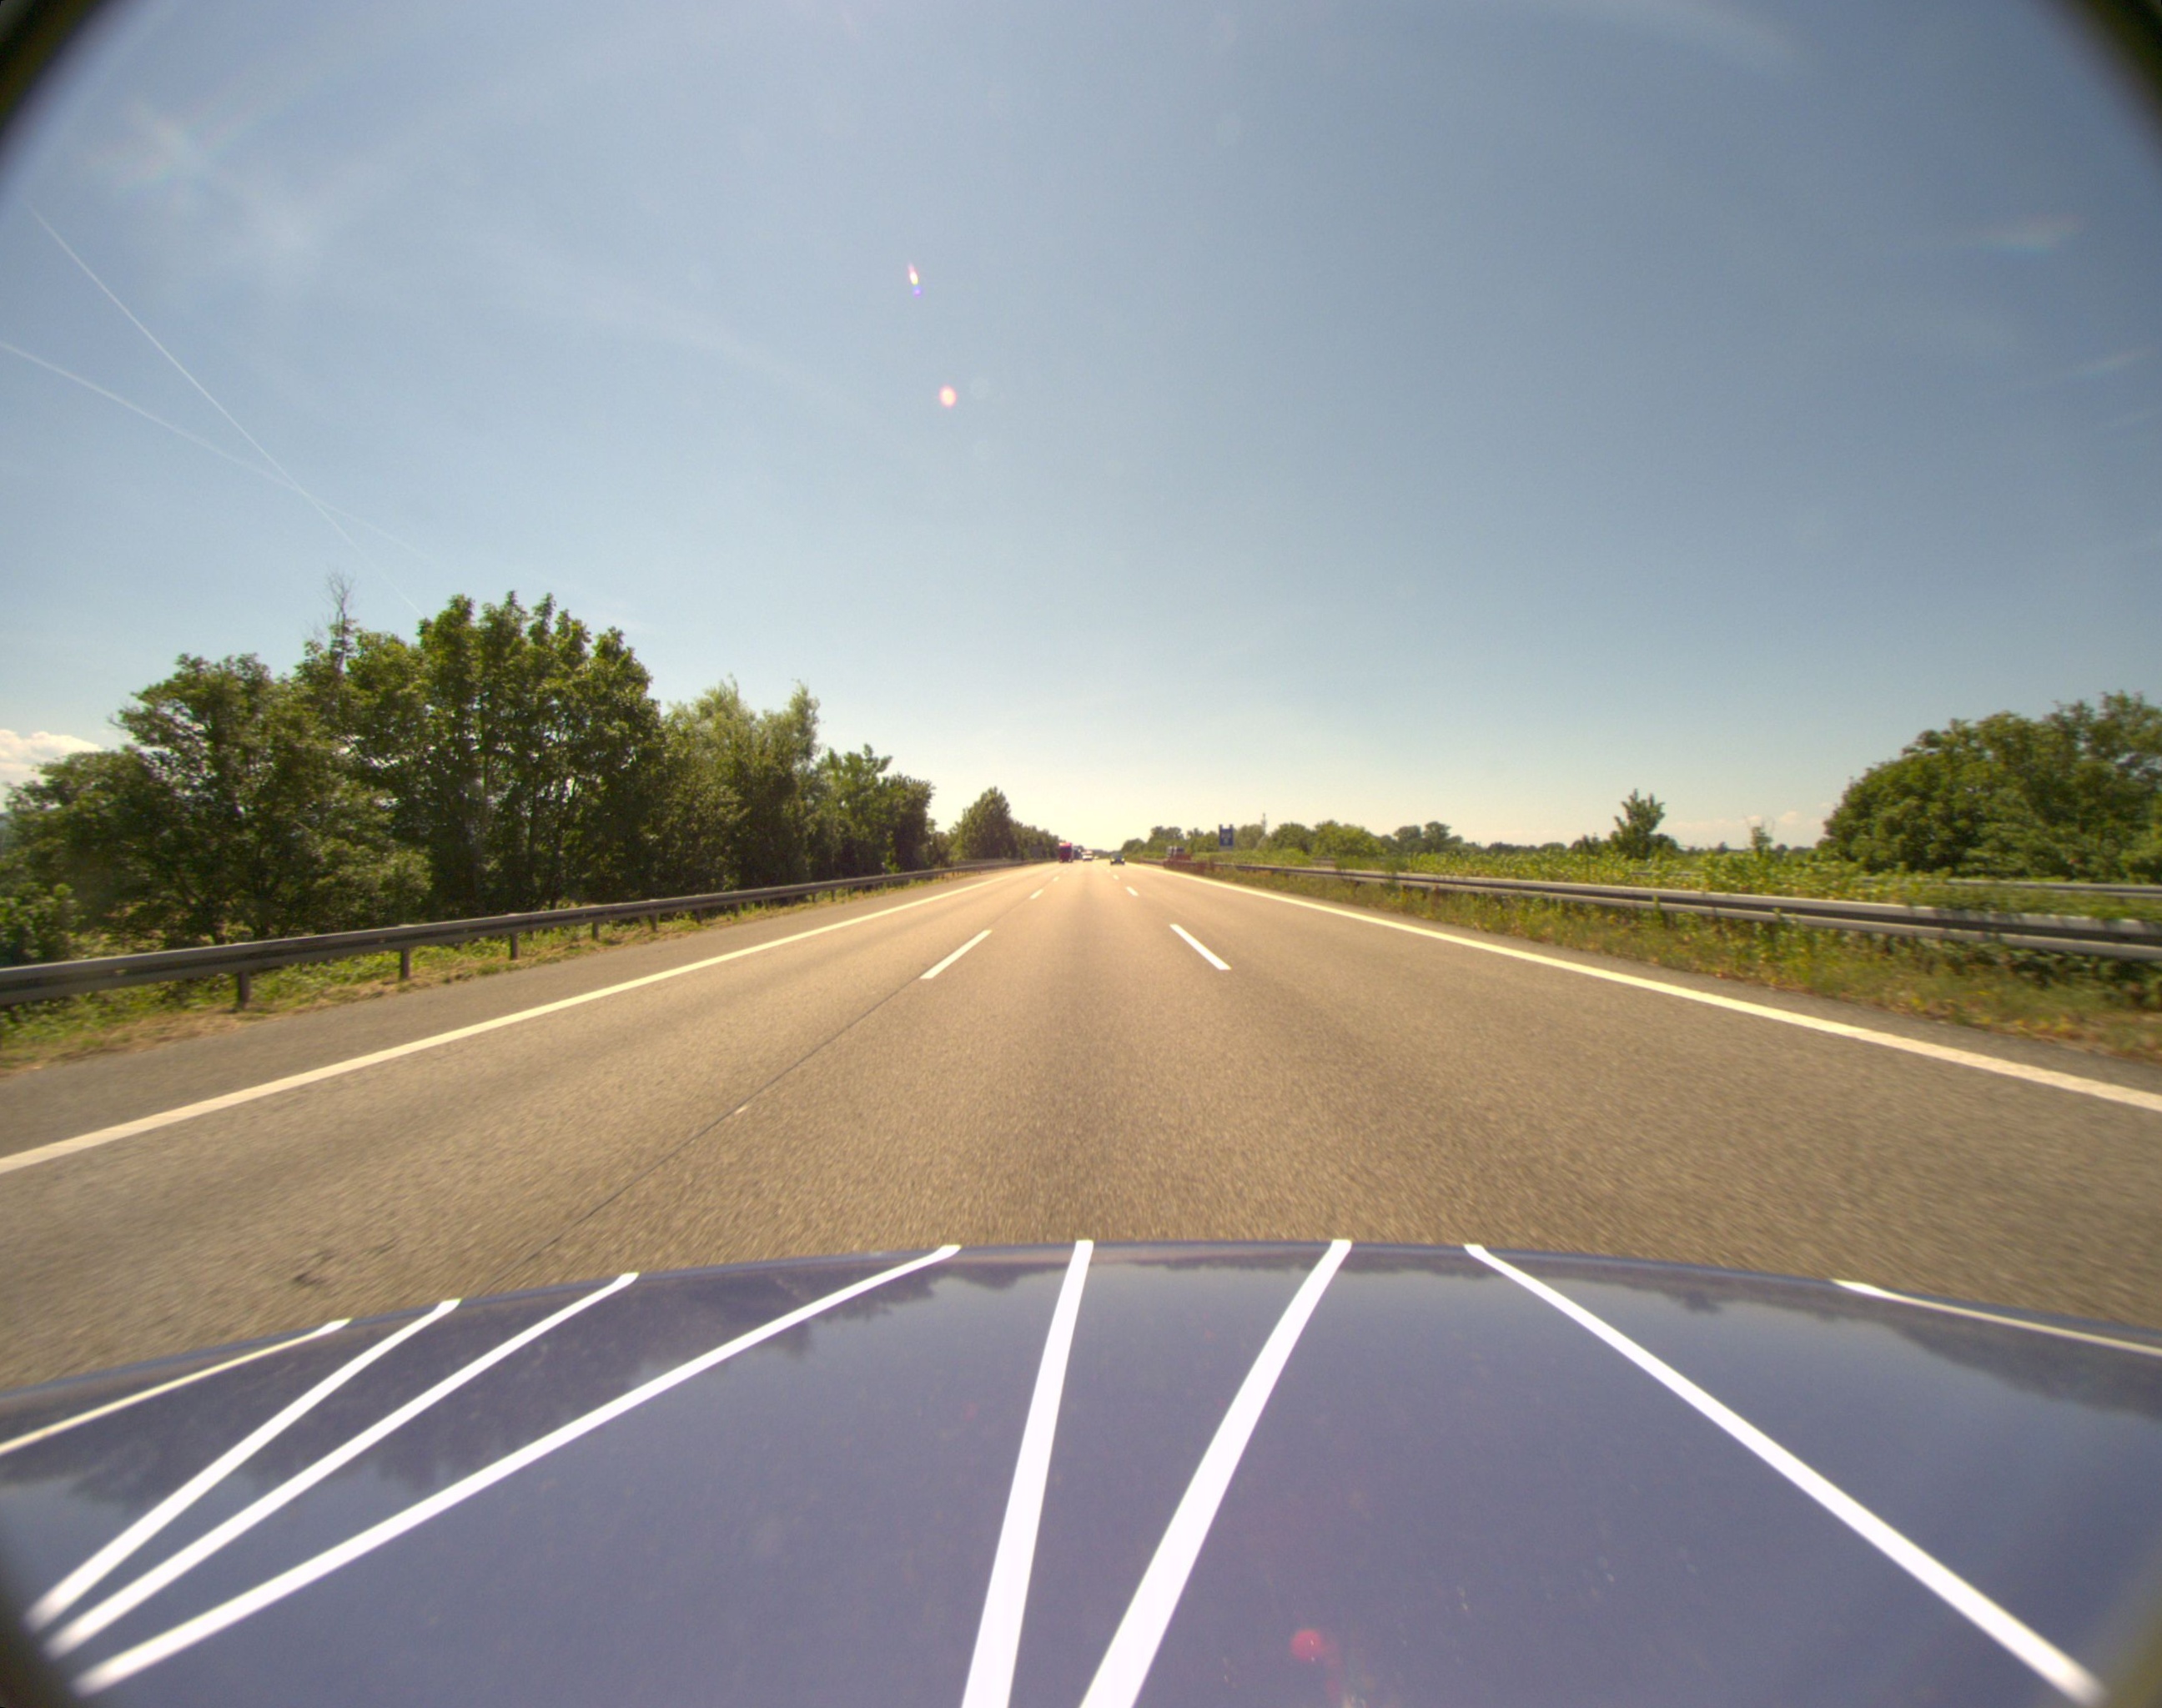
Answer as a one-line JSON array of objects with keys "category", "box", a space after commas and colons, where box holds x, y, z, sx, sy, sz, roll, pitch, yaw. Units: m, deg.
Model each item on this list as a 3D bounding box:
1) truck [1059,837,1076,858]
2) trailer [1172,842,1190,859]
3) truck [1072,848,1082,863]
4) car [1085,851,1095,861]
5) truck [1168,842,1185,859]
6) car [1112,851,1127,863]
[{"category": "truck", "box": [-2.650, -1.241, 151.704, 2.938, 3.933, 10.260, -2, 0, 1]}, {"category": "trailer", "box": [23.976, -0.872, 183.115, 2.933, 3.967, 9.658, -2, 0, 0]}, {"category": "truck", "box": [-1.238, 0.504, 247.035, 2.938, 4.428, 10.260, -2, 0, 1]}, {"category": "car", "box": [1.841, 0.337, 161.845, 1.998, 2.002, 4.756, -2, 0, 1]}, {"category": "truck", "box": [23.962, -0.863, 191.067, 2.925, 3.967, 9.623, -2, 0, 0]}, {"category": "car", "box": [4.975, 0.395, 97.998, 1.736, 1.433, 4.000, -2, 0, 1]}]
